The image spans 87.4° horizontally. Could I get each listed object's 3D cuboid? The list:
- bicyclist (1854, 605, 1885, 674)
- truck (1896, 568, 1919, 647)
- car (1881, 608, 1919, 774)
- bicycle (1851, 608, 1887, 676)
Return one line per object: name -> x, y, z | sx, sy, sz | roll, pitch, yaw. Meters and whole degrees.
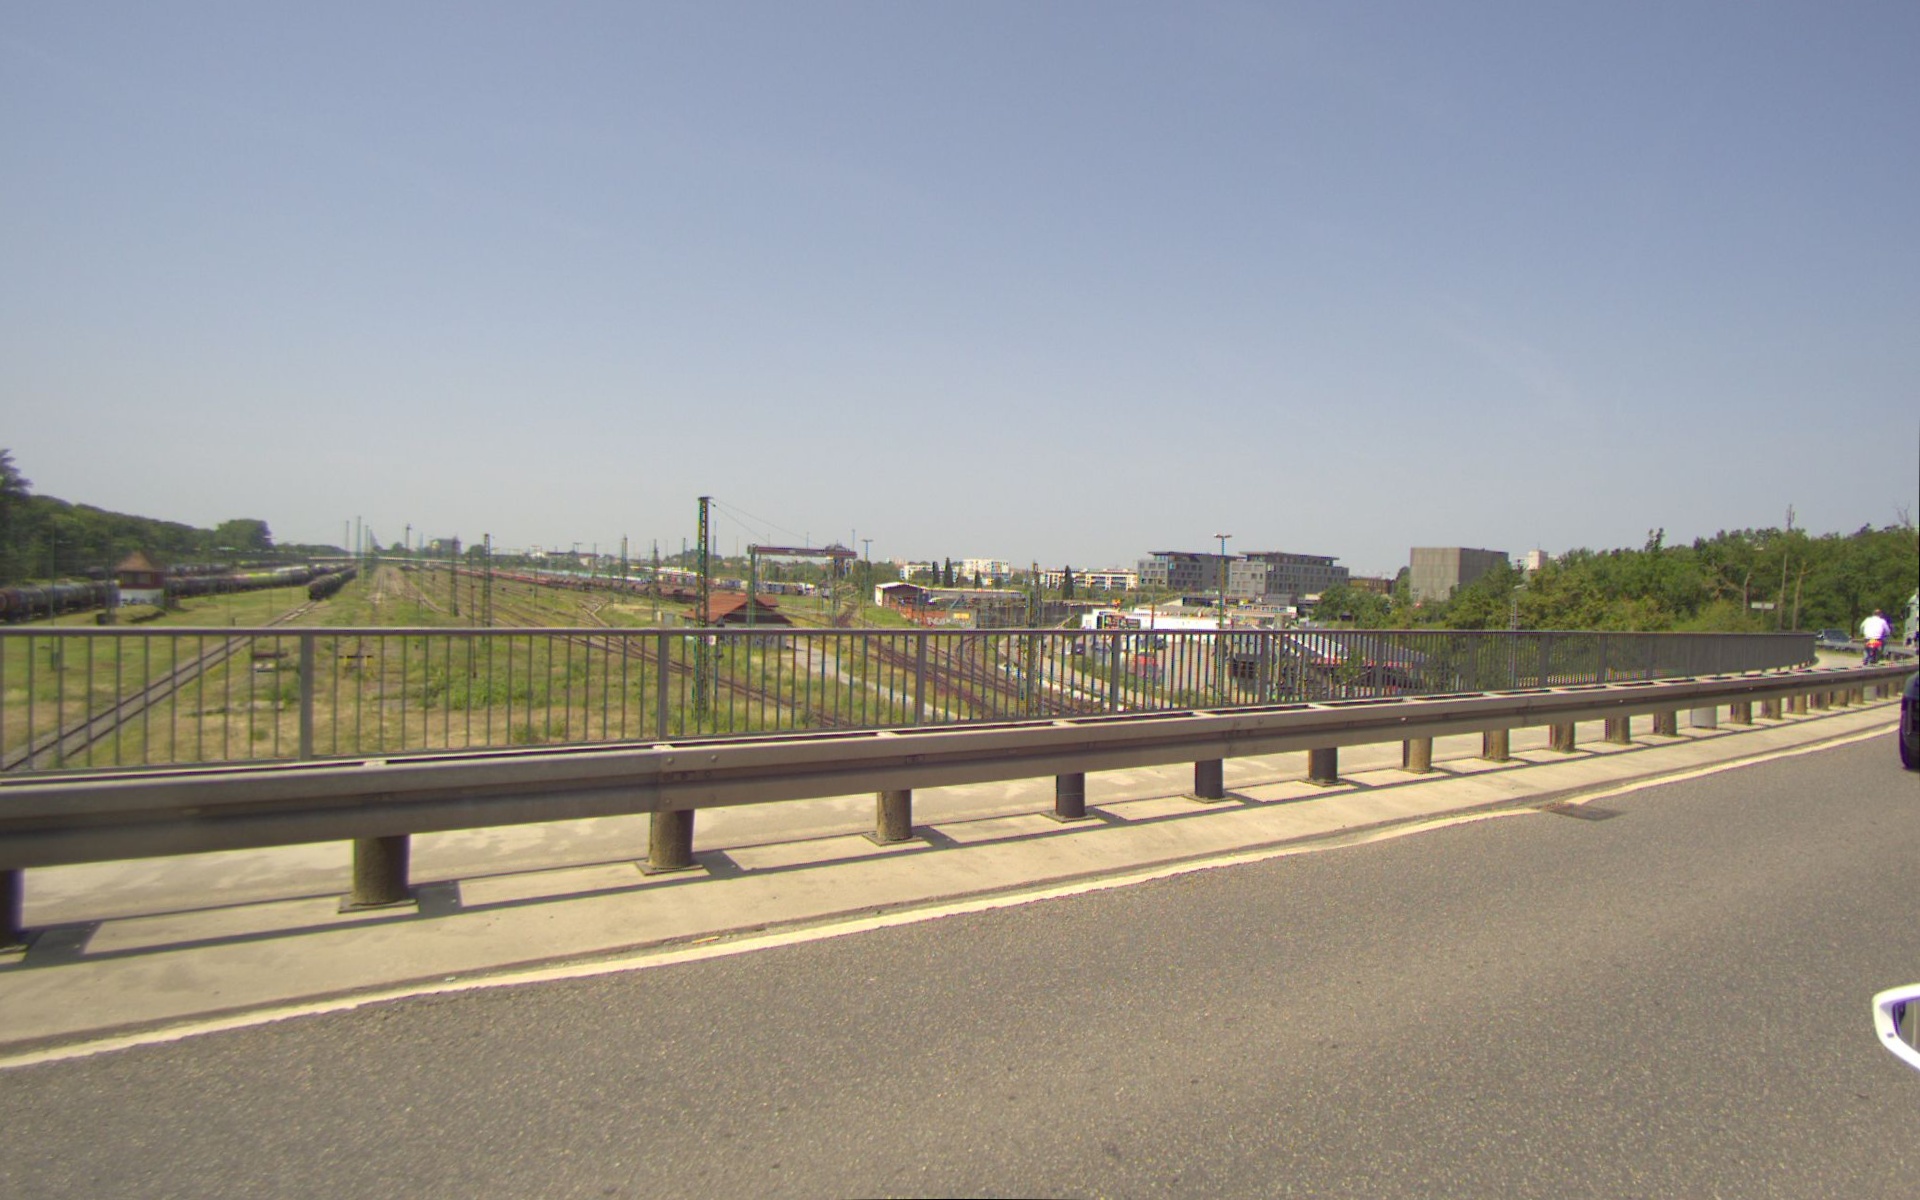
bicyclist -> 25.712, 1.092, 28.405 | 0.617, 1.911, 0.708 | 1, 1, 42
truck -> 56.646, 0.448, 57.219 | 3.521, 4.500, 6.500 | 1, 1, 31
car -> 11.542, 0.915, 10.566 | 4.443, 1.617, 1.879 | 0, 1, -36
bicycle -> 25.735, 1.156, 28.437 | 0.690, 1.826, 2.168 | 1, 1, 42
